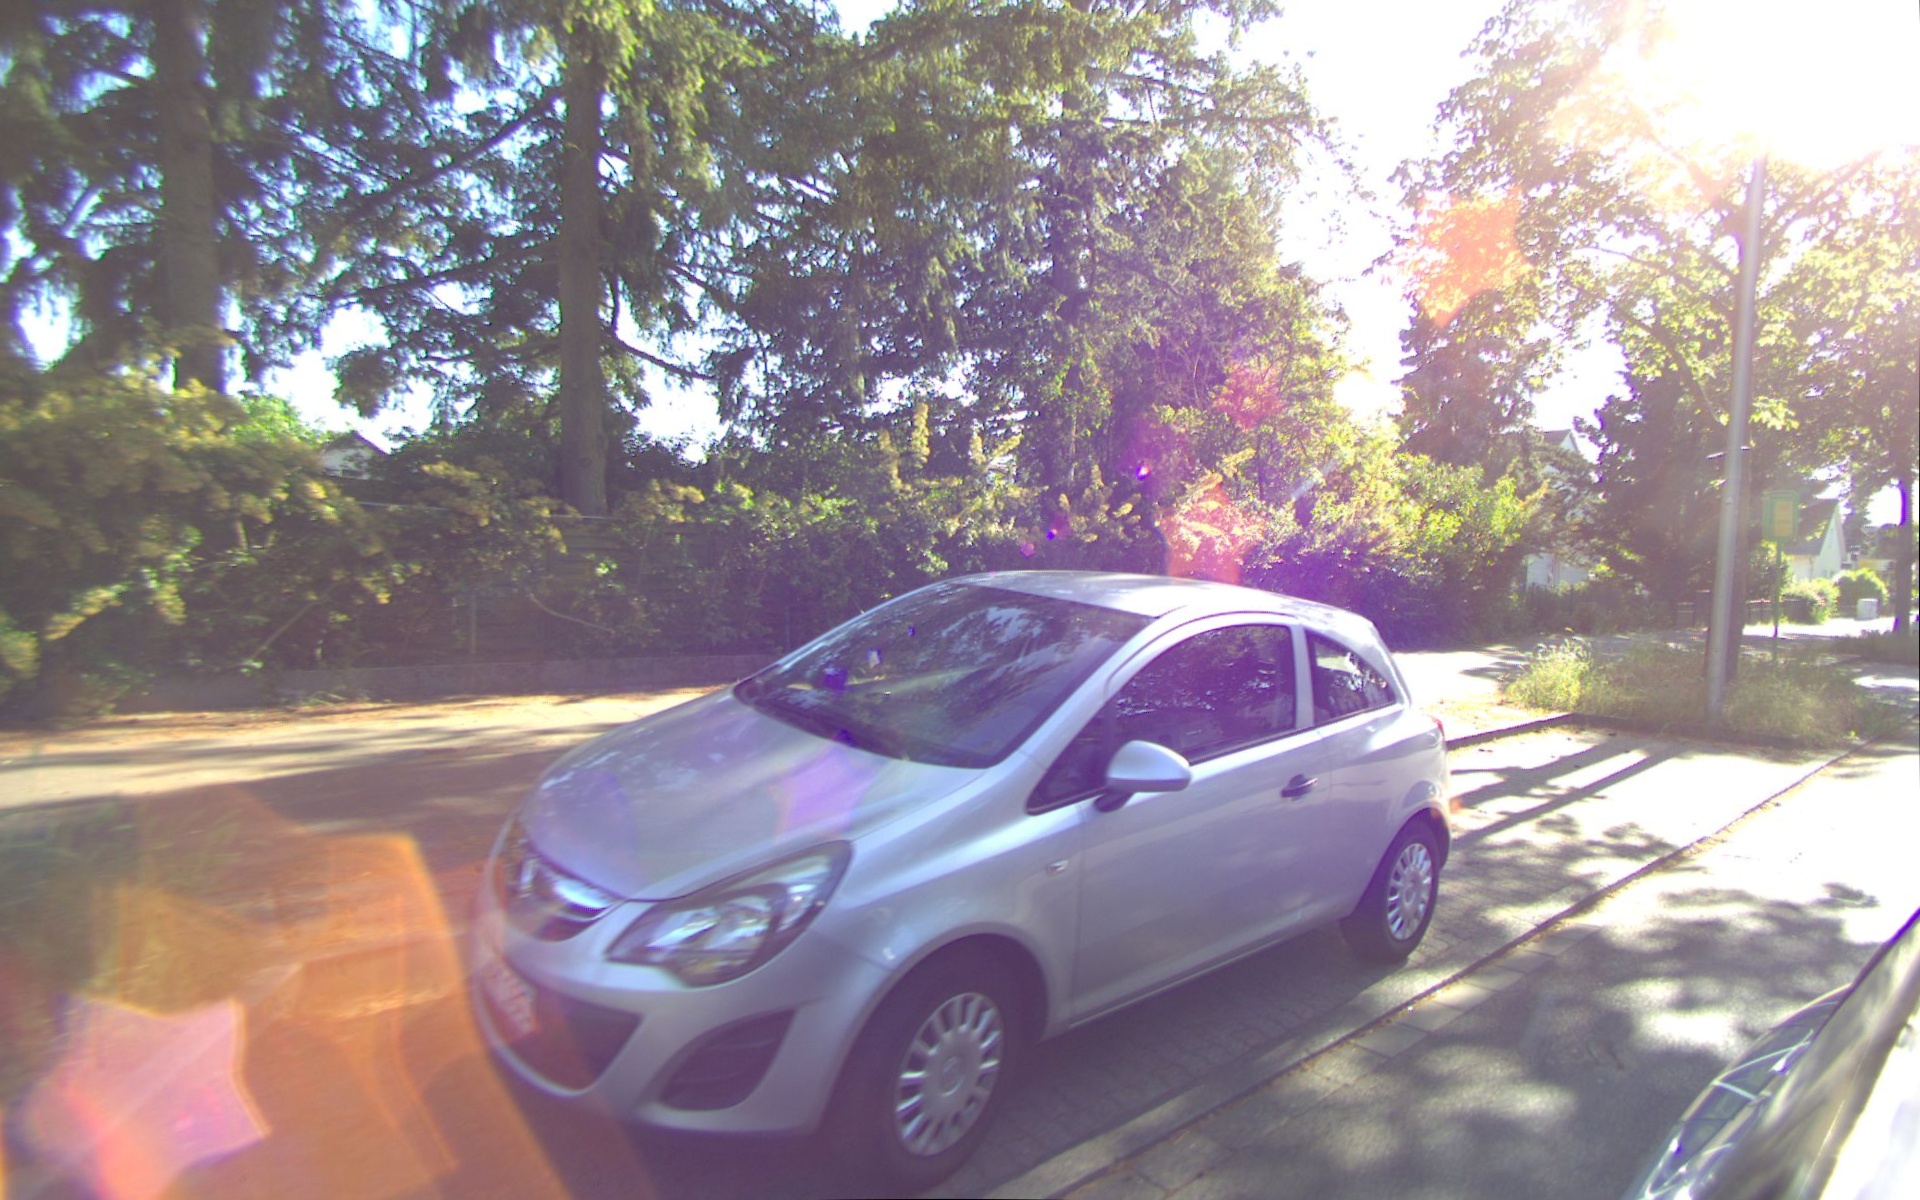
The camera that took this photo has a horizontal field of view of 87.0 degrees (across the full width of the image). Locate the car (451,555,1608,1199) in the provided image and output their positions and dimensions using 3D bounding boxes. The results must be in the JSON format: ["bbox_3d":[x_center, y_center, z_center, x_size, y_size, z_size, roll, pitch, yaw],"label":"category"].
[{"bbox_3d":[0.386,0.652,3.815,3.923,1.528,2.002,-1,4,-34],"label":"car"}]
